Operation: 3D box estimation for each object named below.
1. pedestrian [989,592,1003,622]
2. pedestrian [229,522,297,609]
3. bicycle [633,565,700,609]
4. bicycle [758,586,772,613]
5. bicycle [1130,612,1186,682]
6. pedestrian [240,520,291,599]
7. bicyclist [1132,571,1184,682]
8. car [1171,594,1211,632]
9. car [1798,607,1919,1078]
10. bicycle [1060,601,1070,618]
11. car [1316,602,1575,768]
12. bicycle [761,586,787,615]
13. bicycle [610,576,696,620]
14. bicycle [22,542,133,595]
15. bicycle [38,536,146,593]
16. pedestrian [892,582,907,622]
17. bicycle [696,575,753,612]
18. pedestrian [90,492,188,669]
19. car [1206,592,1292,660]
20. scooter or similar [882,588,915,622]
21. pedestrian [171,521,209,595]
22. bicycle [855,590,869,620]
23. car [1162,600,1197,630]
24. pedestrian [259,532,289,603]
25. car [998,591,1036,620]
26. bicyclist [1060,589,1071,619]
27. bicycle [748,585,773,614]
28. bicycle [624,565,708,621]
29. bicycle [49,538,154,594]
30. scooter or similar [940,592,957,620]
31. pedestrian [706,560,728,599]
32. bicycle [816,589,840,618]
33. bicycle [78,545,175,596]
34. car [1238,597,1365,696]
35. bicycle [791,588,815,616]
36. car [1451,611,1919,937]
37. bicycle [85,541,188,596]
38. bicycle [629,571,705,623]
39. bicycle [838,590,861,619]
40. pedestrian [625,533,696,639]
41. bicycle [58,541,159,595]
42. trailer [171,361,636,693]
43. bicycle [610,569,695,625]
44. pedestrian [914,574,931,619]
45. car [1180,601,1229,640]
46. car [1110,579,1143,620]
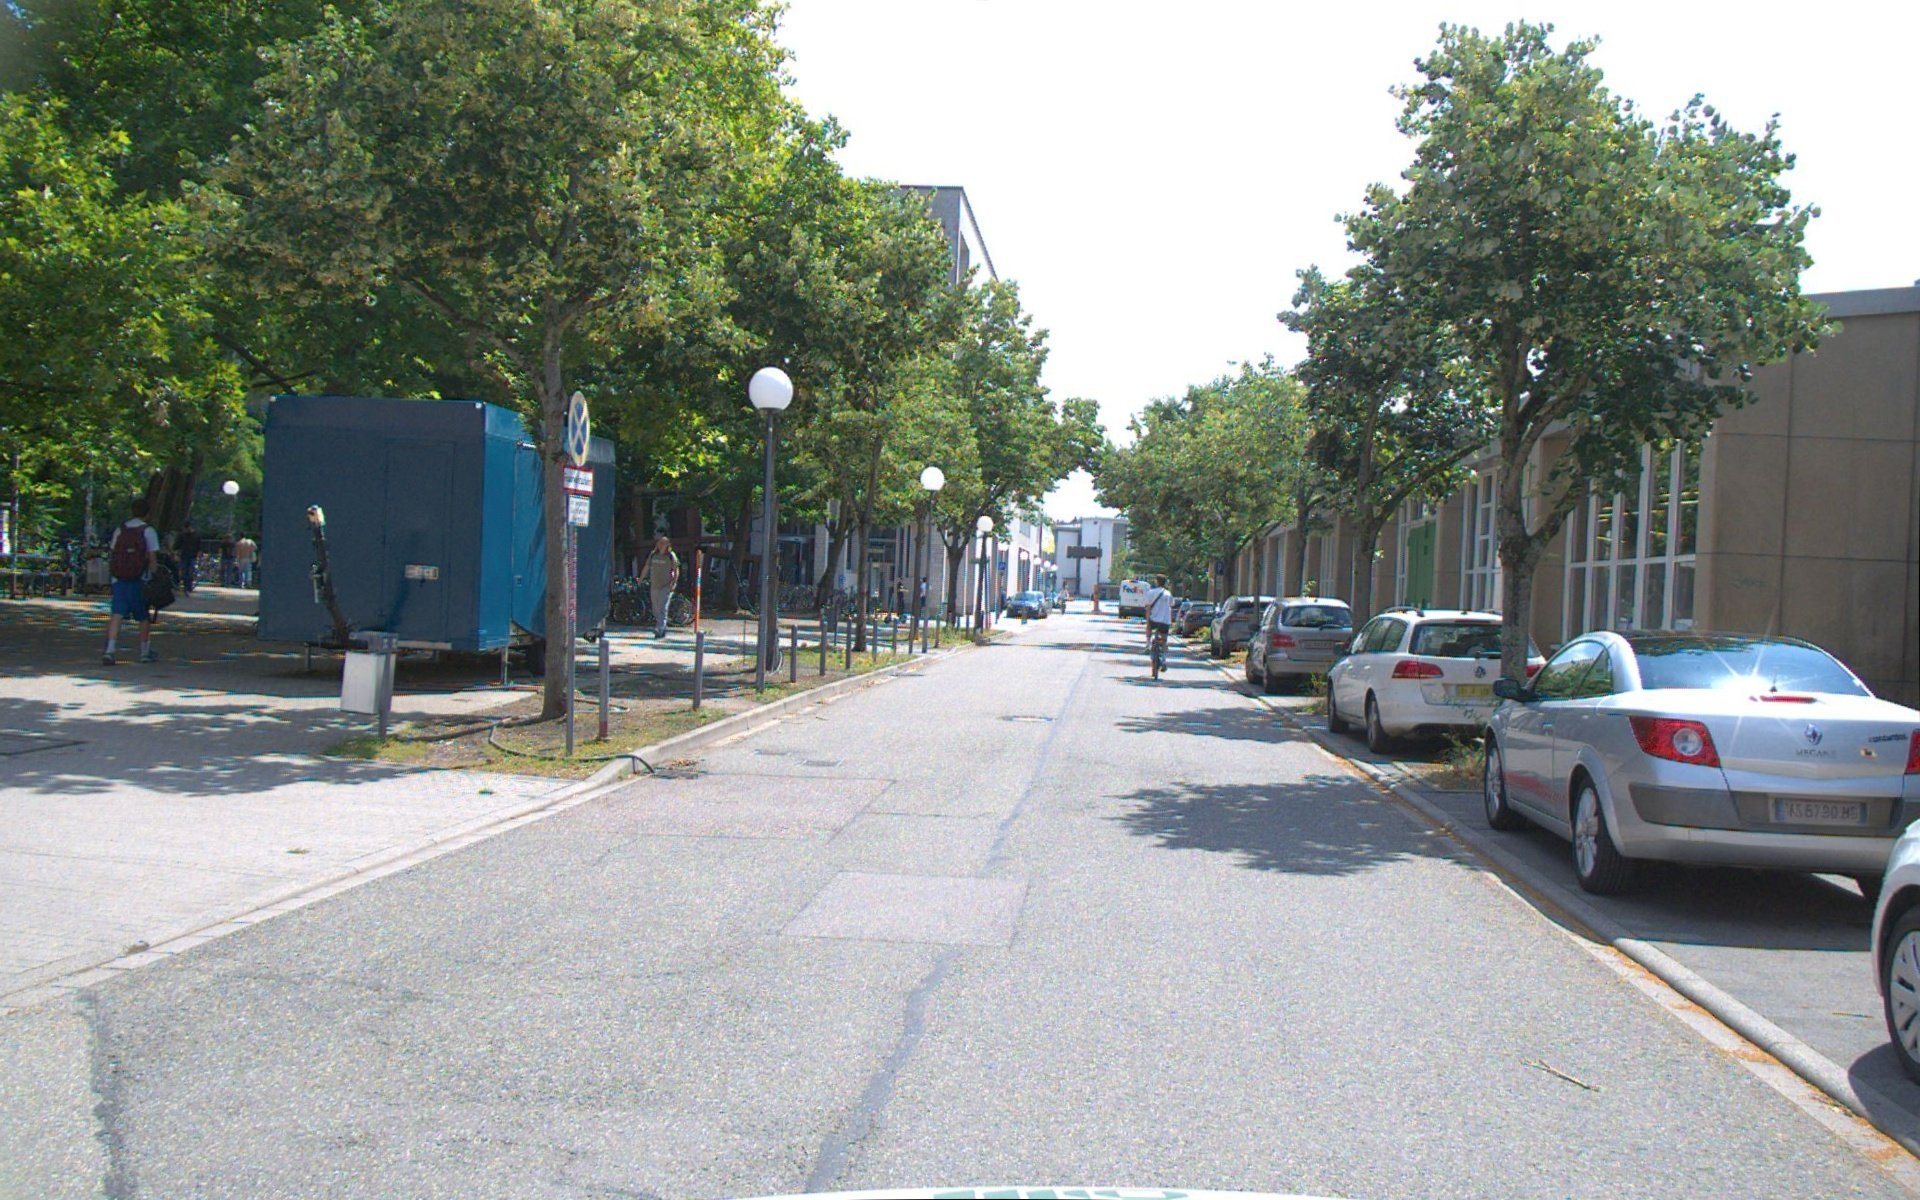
[{"bbox_3d":[2.180,0.422,99.292,0.637,1.731,0.888,4,0,-5],"label":"pedestrian"},{"bbox_3d":[-16.943,-0.835,40.206,0.877,1.981,1.118,5,0,43],"label":"pedestrian"},{"bbox_3d":[-10.762,-0.476,60.654,2.257,1.475,0.601,3,0,-28],"label":"bicycle"},{"bbox_3d":[-7.393,-0.013,62.716,0.466,0.982,1.655,3,0,-5],"label":"bicycle"},{"bbox_3d":[3.756,0.866,31.562,0.864,1.220,2.751,3,0,4],"label":"bicycle"},{"bbox_3d":[-18.283,-1.067,43.551,0.838,1.981,0.817,5,0,43],"label":"pedestrian"},{"bbox_3d":[3.777,0.498,31.597,0.855,2.048,0.850,3,0,4],"label":"bicyclist"},{"bbox_3d":[10.348,0.555,74.284,1.582,1.565,3.782,3,0,6],"label":"car"},{"bbox_3d":[3.781,0.796,4.060,1.554,1.492,3.990,3,0,3],"label":"car"},{"bbox_3d":[7.397,0.685,116.435,0.671,1.149,1.889,3,0,3],"label":"bicycle"},{"bbox_3d":[5.122,0.812,18.083,1.689,1.493,4.674,2,0,4],"label":"car"},{"bbox_3d":[-7.567,0.023,67.358,0.540,1.105,1.974,5,0,5],"label":"bicycle"},{"bbox_3d":[-8.206,-0.060,44.264,2.119,1.026,0.673,4,0,-25],"label":"bicycle"},{"bbox_3d":[-18.676,-0.669,35.017,1.968,1.025,0.584,3,0,-4],"label":"bicycle"},{"bbox_3d":[-18.874,-0.765,35.979,1.968,1.138,0.584,3,0,-4],"label":"bicycle"},{"bbox_3d":[-2.750,0.086,75.007,0.435,1.806,0.447,3,0,-25],"label":"pedestrian"},{"bbox_3d":[-8.781,-0.245,61.688,1.990,1.275,0.582,2,0,-27],"label":"bicycle"},{"bbox_3d":[-9.065,-0.227,18.296,0.840,1.867,0.872,3,2,-25],"label":"pedestrian"},{"bbox_3d":[7.793,0.705,44.989,1.784,1.693,4.586,2,-1,4],"label":"car"},{"bbox_3d":[-2.261,0.198,60.933,0.334,1.196,1.321,4,0,40],"label":"scooter or similar"},{"bbox_3d":[-18.235,-0.999,39.186,0.620,1.699,0.727,4,0,-18],"label":"pedestrian"},{"bbox_3d":[-3.594,0.179,60.521,0.374,1.043,1.812,3,0,-7],"label":"bicycle"},{"bbox_3d":[12.799,0.863,96.607,1.819,1.601,4.003,2,0,6],"label":"car"},{"bbox_3d":[-19.020,-0.908,45.853,0.584,1.937,0.510,3,0,-41],"label":"pedestrian"},{"bbox_3d":[3.220,0.314,92.702,1.729,1.452,4.237,3,0,7],"label":"car"},{"bbox_3d":[7.413,0.276,116.493,0.696,2.049,1.019,2,0,3],"label":"bicyclist"},{"bbox_3d":[-8.123,-0.006,67.344,0.540,1.105,1.974,5,0,5],"label":"bicycle"},{"bbox_3d":[-7.592,-0.177,42.697,2.018,1.256,0.806,5,0,-12],"label":"bicycle"},{"bbox_3d":[-19.087,-0.752,36.796,1.968,1.138,0.584,3,0,-4],"label":"bicycle"},{"bbox_3d":[-0.535,0.268,76.649,0.445,1.245,1.550,3,0,9],"label":"scooter or similar"},{"bbox_3d":[-10.880,-0.908,73.902,0.686,1.690,0.628,3,0,-34],"label":"pedestrian"},{"bbox_3d":[-5.360,0.131,67.191,0.540,1.105,1.974,5,0,5],"label":"bicycle"},{"bbox_3d":[-20.078,-0.712,39.862,1.968,1.138,0.584,3,0,-4],"label":"bicycle"},{"bbox_3d":[6.062,0.775,29.755,1.668,1.601,4.142,2,0,4],"label":"car"},{"bbox_3d":[-6.416,0.088,67.589,0.540,1.105,1.974,5,0,5],"label":"bicycle"},{"bbox_3d":[4.228,0.840,9.813,1.612,1.414,3.991,2,1,3],"label":"car"},{"bbox_3d":[-18.712,-0.713,37.587,1.968,1.138,0.584,3,0,-4],"label":"bicycle"},{"bbox_3d":[-7.131,-0.079,40.259,1.742,1.151,0.457,4,0,-12],"label":"bicycle"},{"bbox_3d":[-4.451,0.170,66.910,0.540,1.105,1.974,5,0,5],"label":"bicycle"},{"bbox_3d":[-5.892,-0.269,32.556,0.899,1.988,0.892,5,0,15],"label":"pedestrian"},{"bbox_3d":[-19.707,-0.741,38.297,1.968,1.138,0.584,3,0,-4],"label":"bicycle"},{"bbox_3d":[-6.082,-0.725,19.326,2.640,3.079,6.270,4,0,5],"label":"trailer"},{"bbox_3d":[-7.757,-0.079,41.695,2.018,1.256,0.806,4,0,-12],"label":"bicycle"},{"bbox_3d":[-1.684,-0.178,74.202,0.407,1.975,0.658,4,0,-23],"label":"pedestrian"},{"bbox_3d":[10.095,0.829,68.535,1.743,1.502,4.464,2,0,5],"label":"car"},{"bbox_3d":[11.336,-0.033,113.097,2.040,2.583,4.318,4,0,5],"label":"car"}]
